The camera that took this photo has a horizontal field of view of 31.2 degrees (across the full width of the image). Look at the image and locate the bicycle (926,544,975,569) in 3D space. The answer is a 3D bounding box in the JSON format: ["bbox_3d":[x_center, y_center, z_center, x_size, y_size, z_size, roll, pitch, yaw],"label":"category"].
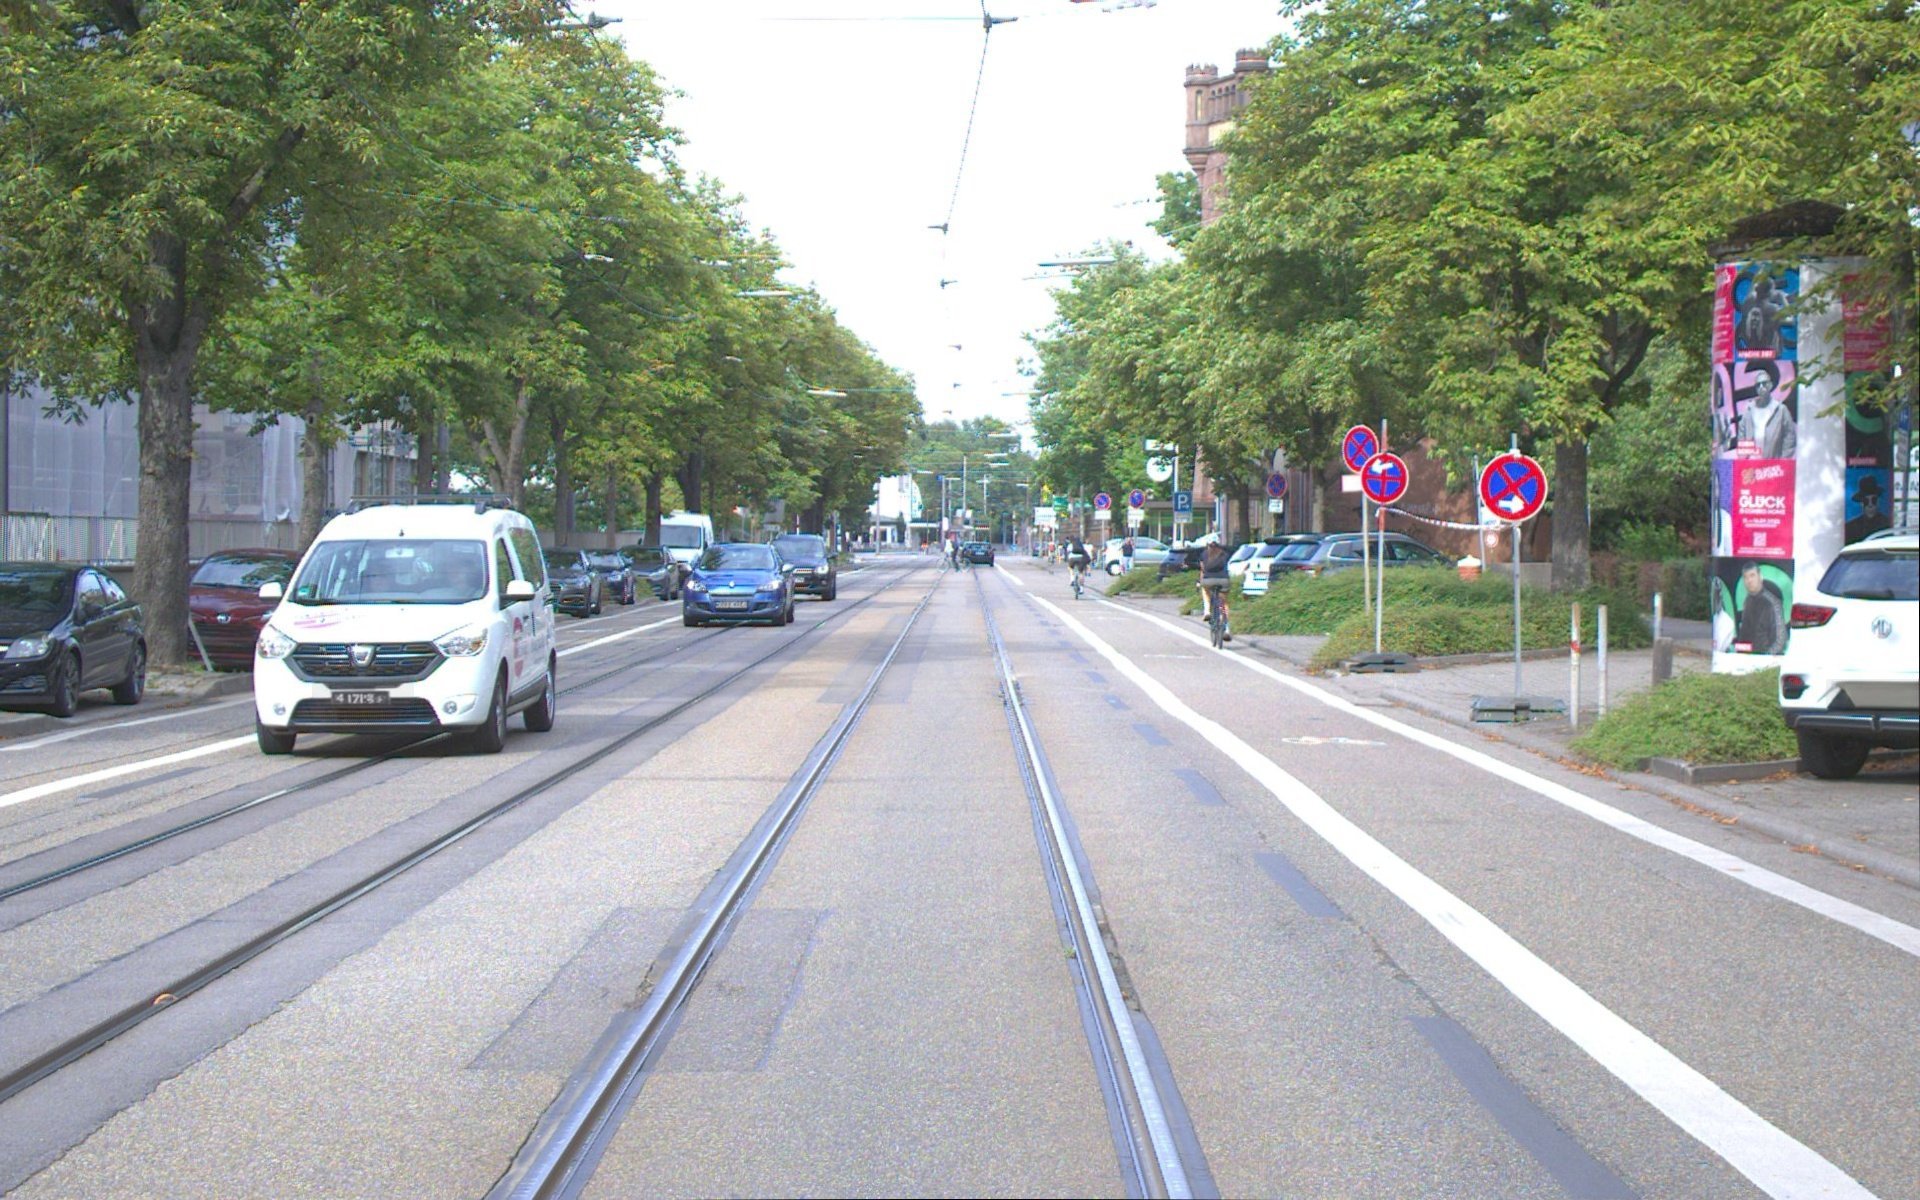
[{"bbox_3d":[-0.463,-2.119,168.543,2.275,1.185,0.768,1,1,8],"label":"bicycle"}]

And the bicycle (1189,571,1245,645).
[{"bbox_3d":[3.763,0.102,50.513,0.592,1.040,1.978,1,1,-2],"label":"bicycle"}]

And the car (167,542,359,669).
[{"bbox_3d":[-8.646,0.028,42.914,1.635,1.491,3.963,1,1,-1],"label":"car"}]

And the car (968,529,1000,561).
[{"bbox_3d":[1.390,-3.285,204.469,1.795,1.817,4.679,1,1,-1],"label":"car"}]

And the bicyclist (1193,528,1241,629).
[{"bbox_3d":[3.772,-0.322,50.507,0.592,1.454,0.875,1,1,-2],"label":"bicyclist"}]

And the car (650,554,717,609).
[{"bbox_3d":[-7.475,-0.518,93.140,1.590,1.398,3.963,1,1,-2],"label":"car"}]

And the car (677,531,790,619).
[{"bbox_3d":[-3.994,-0.471,61.280,1.732,1.491,4.378,0,1,0],"label":"car"}]

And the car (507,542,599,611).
[{"bbox_3d":[-8.576,-0.521,72.723,1.590,1.398,3.963,1,1,-2],"label":"car"}]

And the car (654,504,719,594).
[{"bbox_3d":[-8.454,-1.579,106.484,1.720,2.695,5.471,1,1,-2],"label":"car"}]

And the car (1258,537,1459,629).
[{"bbox_3d":[7.152,-0.316,61.593,1.681,1.597,3.637,1,1,45],"label":"car"}]

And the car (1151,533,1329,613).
[{"bbox_3d":[5.764,-0.554,70.537,1.681,1.597,3.637,1,1,45],"label":"car"}]

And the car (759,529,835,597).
[{"bbox_3d":[-4.064,-0.948,86.290,1.732,1.623,4.378,-1,1,-1],"label":"car"}]

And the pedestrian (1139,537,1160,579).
[{"bbox_3d":[7.982,-1.767,144.607,0.748,1.783,0.730,1,0,15],"label":"pedestrian"}]

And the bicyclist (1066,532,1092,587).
[{"bbox_3d":[3.245,-1.117,93.816,0.659,1.491,0.929,1,1,1],"label":"bicyclist"}]

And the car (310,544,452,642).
[{"bbox_3d":[-8.734,-0.129,52.114,1.590,1.398,3.963,1,1,-2],"label":"car"}]

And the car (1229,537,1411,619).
[{"bbox_3d":[7.174,-0.436,68.390,1.681,1.597,3.637,1,1,45],"label":"car"}]

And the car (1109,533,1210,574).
[{"bbox_3d":[8.373,-1.974,144.749,3.986,1.687,2.000,1,1,-5],"label":"car"}]

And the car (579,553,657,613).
[{"bbox_3d":[-8.229,-0.427,82.945,1.590,1.398,3.963,1,1,-2],"label":"car"}]

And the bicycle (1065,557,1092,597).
[{"bbox_3d":[3.234,-0.630,93.788,0.663,1.040,1.841,1,1,1],"label":"bicycle"}]

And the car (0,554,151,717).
[{"bbox_3d":[-8.800,0.289,32.257,1.590,1.398,3.963,1,1,-2],"label":"car"}]

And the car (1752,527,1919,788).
[{"bbox_3d":[6.919,0.341,22.552,1.681,1.597,3.637,1,1,45],"label":"car"}]

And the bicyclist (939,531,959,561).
[{"bbox_3d":[-0.553,-2.648,168.550,0.847,1.499,0.768,1,1,8],"label":"bicyclist"}]

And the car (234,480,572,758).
[{"bbox_3d":[-4.051,0.083,25.660,1.732,1.878,4.378,1,1,1],"label":"car"}]
